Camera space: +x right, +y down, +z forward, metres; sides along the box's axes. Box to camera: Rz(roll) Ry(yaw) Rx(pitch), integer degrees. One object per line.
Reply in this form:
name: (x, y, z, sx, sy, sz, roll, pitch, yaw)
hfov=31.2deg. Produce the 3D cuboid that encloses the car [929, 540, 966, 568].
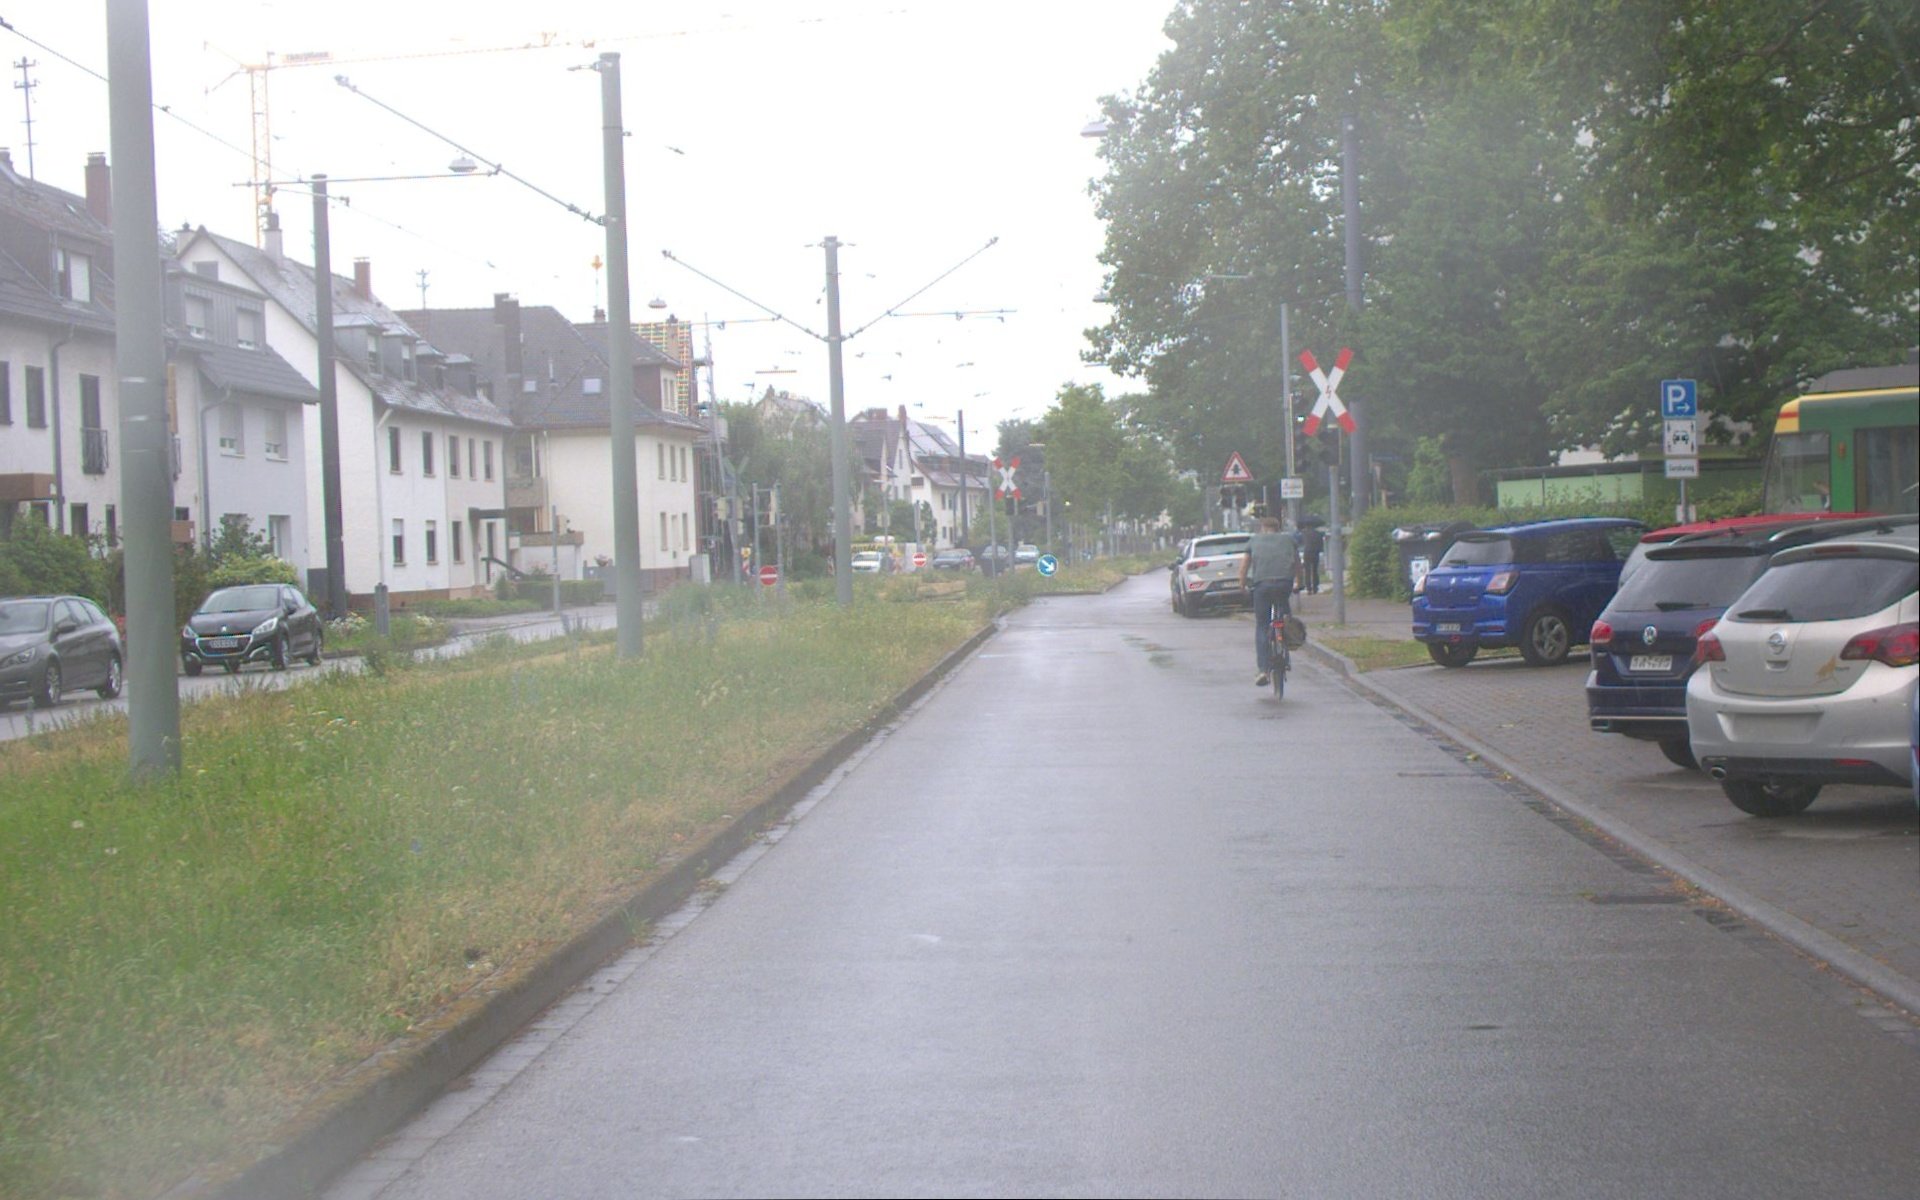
car: (-0.753, -2.876, 214.400, 1.994, 1.539, 3.999, -2, -1, 4)

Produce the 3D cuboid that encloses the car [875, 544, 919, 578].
car: (-3.463, -2.121, 188.986, 1.994, 1.699, 3.999, -2, -1, 4)

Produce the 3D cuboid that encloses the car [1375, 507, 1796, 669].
car: (6.642, -0.166, 36.496, 3.987, 1.478, 2.000, -4, 3, -29)

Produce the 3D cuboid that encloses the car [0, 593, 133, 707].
car: (-12.490, 0.690, 45.737, 1.601, 1.419, 4.666, -2, -1, 3)

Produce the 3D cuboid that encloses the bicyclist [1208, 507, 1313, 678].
bicyclist: (2.841, -0.072, 32.588, 0.831, 1.553, 0.914, -3, 0, 0)

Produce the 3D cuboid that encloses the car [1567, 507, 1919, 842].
car: (5.313, 0.279, 17.959, 3.988, 1.548, 1.960, -4, 0, -38)

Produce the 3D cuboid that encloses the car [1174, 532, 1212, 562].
car: (13.091, -2.981, 193.052, 1.994, 1.487, 3.999, -2, -1, 3)

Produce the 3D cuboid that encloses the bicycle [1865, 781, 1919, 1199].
bicycle: (2.123, 0.902, 5.596, 0.752, 1.069, 1.927, -2, 2, 0)

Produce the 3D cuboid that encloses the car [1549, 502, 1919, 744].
car: (6.205, 0.105, 24.428, 3.587, 1.475, 1.638, -4, 2, -23)

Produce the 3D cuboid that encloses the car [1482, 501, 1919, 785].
car: (5.503, 0.182, 21.362, 4.109, 1.475, 1.866, -5, 2, -29)

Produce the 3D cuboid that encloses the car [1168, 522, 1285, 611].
car: (5.150, -0.642, 66.815, 1.955, 1.548, 4.000, -4, 0, 2)

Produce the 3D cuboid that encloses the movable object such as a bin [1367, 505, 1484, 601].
movable object such as a bin: (8.708, -0.880, 64.352, 1.549, 1.698, 1.501, -3, 1, -21)

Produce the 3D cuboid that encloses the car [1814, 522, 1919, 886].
car: (5.836, 0.252, 15.135, 3.989, 1.495, 1.824, -6, 1, -37)

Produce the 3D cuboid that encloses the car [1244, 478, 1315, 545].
car: (10.607, -2.914, 114.251, 1.941, 2.006, 4.000, -4, 0, 2)

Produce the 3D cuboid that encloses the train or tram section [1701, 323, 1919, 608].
train or tram section: (15.809, -1.804, 41.614, 2.707, 3.577, 14.731, -1, 0, -40)

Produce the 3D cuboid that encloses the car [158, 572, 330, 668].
car: (-12.124, 0.362, 58.451, 1.877, 1.498, 4.133, -2, -1, 2)

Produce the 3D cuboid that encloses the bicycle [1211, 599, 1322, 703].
bicycle: (2.873, 0.464, 32.443, 0.821, 0.909, 1.985, -3, 0, 0)

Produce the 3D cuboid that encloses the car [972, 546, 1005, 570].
car: (2.003, -2.917, 240.089, 1.994, 1.539, 3.999, -2, -1, 4)

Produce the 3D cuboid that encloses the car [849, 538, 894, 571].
car: (-4.680, -2.403, 182.804, 1.994, 1.539, 3.999, -2, -1, 4)
